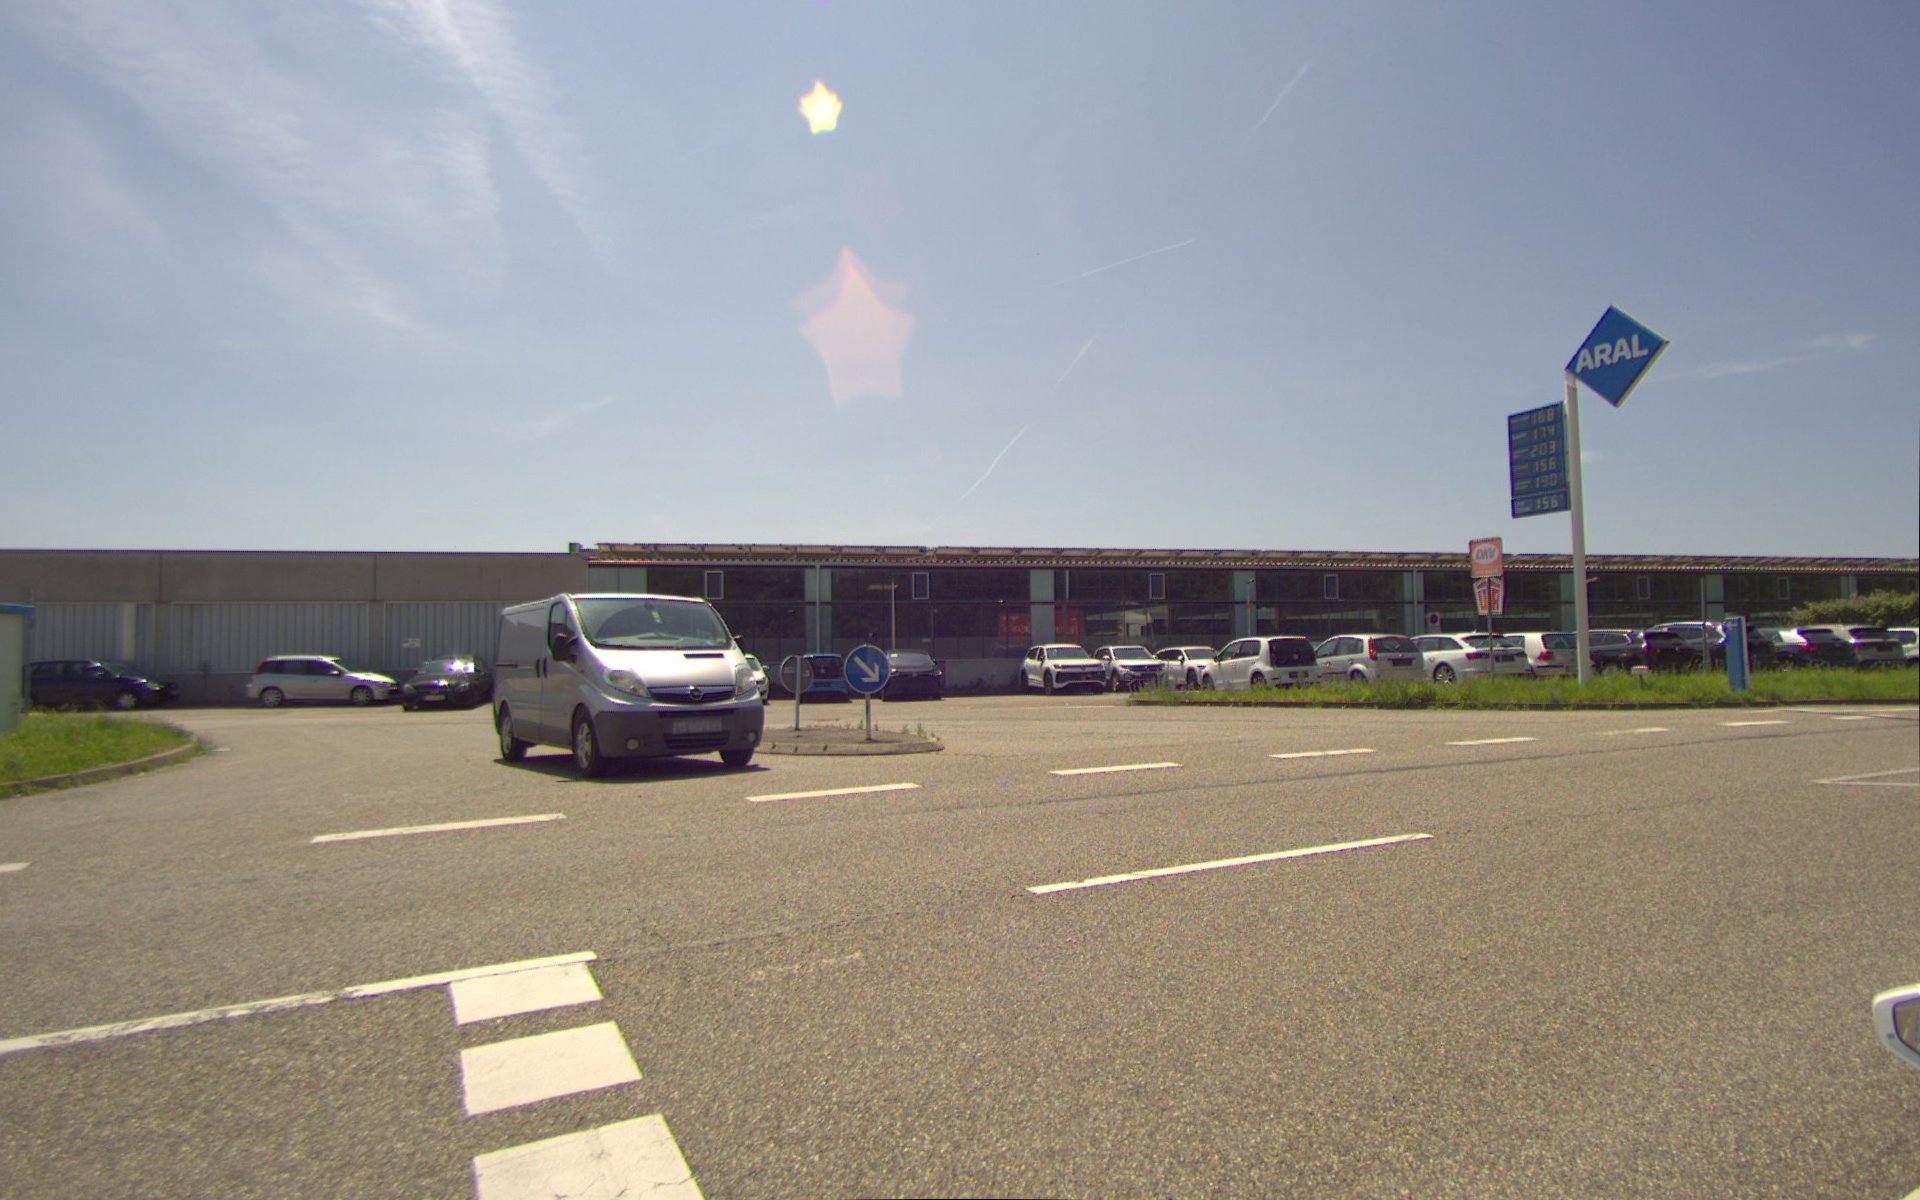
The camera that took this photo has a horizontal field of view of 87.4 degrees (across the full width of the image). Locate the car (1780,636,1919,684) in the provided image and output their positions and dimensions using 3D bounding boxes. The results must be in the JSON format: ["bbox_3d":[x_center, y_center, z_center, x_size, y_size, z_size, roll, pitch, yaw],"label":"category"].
[{"bbox_3d":[26.777,1.768,29.385,1.803,1.334,3.990,0,-4,-15],"label":"car"}]

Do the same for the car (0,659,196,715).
[{"bbox_3d":[-24.539,2.446,28.728,3.834,1.461,1.755,0,-3,-14],"label":"car"}]

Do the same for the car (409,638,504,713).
[{"bbox_3d":[-14.659,2.160,29.440,1.571,2.040,3.991,0,-3,-13],"label":"car"}]

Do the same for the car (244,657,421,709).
[{"bbox_3d":[-18.638,2.455,30.035,4.030,1.447,1.916,0,-3,-11],"label":"car"}]

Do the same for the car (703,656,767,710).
[{"bbox_3d":[-6.955,2.511,30.972,1.813,1.516,3.860,0,-3,-13],"label":"car"}]

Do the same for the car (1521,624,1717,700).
[{"bbox_3d":[16.783,1.584,25.851,1.965,1.772,3.992,1,-3,-12],"label":"car"}]

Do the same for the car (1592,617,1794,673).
[{"bbox_3d":[19.337,1.250,26.737,1.965,1.349,3.992,0,-4,-12],"label":"car"}]

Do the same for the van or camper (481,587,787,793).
[{"bbox_3d":[-4.053,1.004,11.900,1.888,1.929,4.811,2,-4,-39],"label":"van or camper"}]

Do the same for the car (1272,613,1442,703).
[{"bbox_3d":[9.763,1.431,25.054,1.966,2.040,3.990,0,-3,-14],"label":"car"}]

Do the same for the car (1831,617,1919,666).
[{"bbox_3d":[28.834,1.228,29.946,1.790,1.380,3.990,0,-4,-15],"label":"car"}]

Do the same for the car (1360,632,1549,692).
[{"bbox_3d":[12.239,1.530,25.187,1.966,1.376,4.240,0,-3,-14],"label":"car"}]

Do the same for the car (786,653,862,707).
[{"bbox_3d":[-4.387,2.521,31.929,1.966,1.549,3.990,0,-4,-14],"label":"car"}]

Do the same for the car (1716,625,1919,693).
[{"bbox_3d":[24.254,1.708,28.578,1.965,1.772,3.992,0,-4,-12],"label":"car"}]

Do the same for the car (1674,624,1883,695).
[{"bbox_3d":[22.140,1.635,27.393,1.965,1.772,3.992,0,-4,-12],"label":"car"}]

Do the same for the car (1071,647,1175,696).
[{"bbox_3d":[5.425,2.390,33.961,1.966,1.523,4.126,0,-3,-15],"label":"car"}]

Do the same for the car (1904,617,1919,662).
[{"bbox_3d":[31.123,1.242,30.184,1.772,1.391,3.700,1,0,-12],"label":"car"}]

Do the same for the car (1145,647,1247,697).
[{"bbox_3d":[7.965,2.428,34.271,1.787,1.603,3.991,1,-3,-13],"label":"car"}]

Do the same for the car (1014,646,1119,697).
[{"bbox_3d":[3.402,2.314,33.123,1.966,1.523,4.582,0,-3,-15],"label":"car"}]

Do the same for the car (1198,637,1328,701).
[{"bbox_3d":[7.481,1.699,25.129,1.537,1.460,3.445,0,-3,-15],"label":"car"}]

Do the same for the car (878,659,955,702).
[{"bbox_3d":[-1.465,2.586,32.284,1.740,1.262,3.992,0,-5,-13],"label":"car"}]

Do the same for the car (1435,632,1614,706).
[{"bbox_3d":[14.560,1.769,26.169,1.901,1.772,3.992,1,-3,-12],"label":"car"}]
